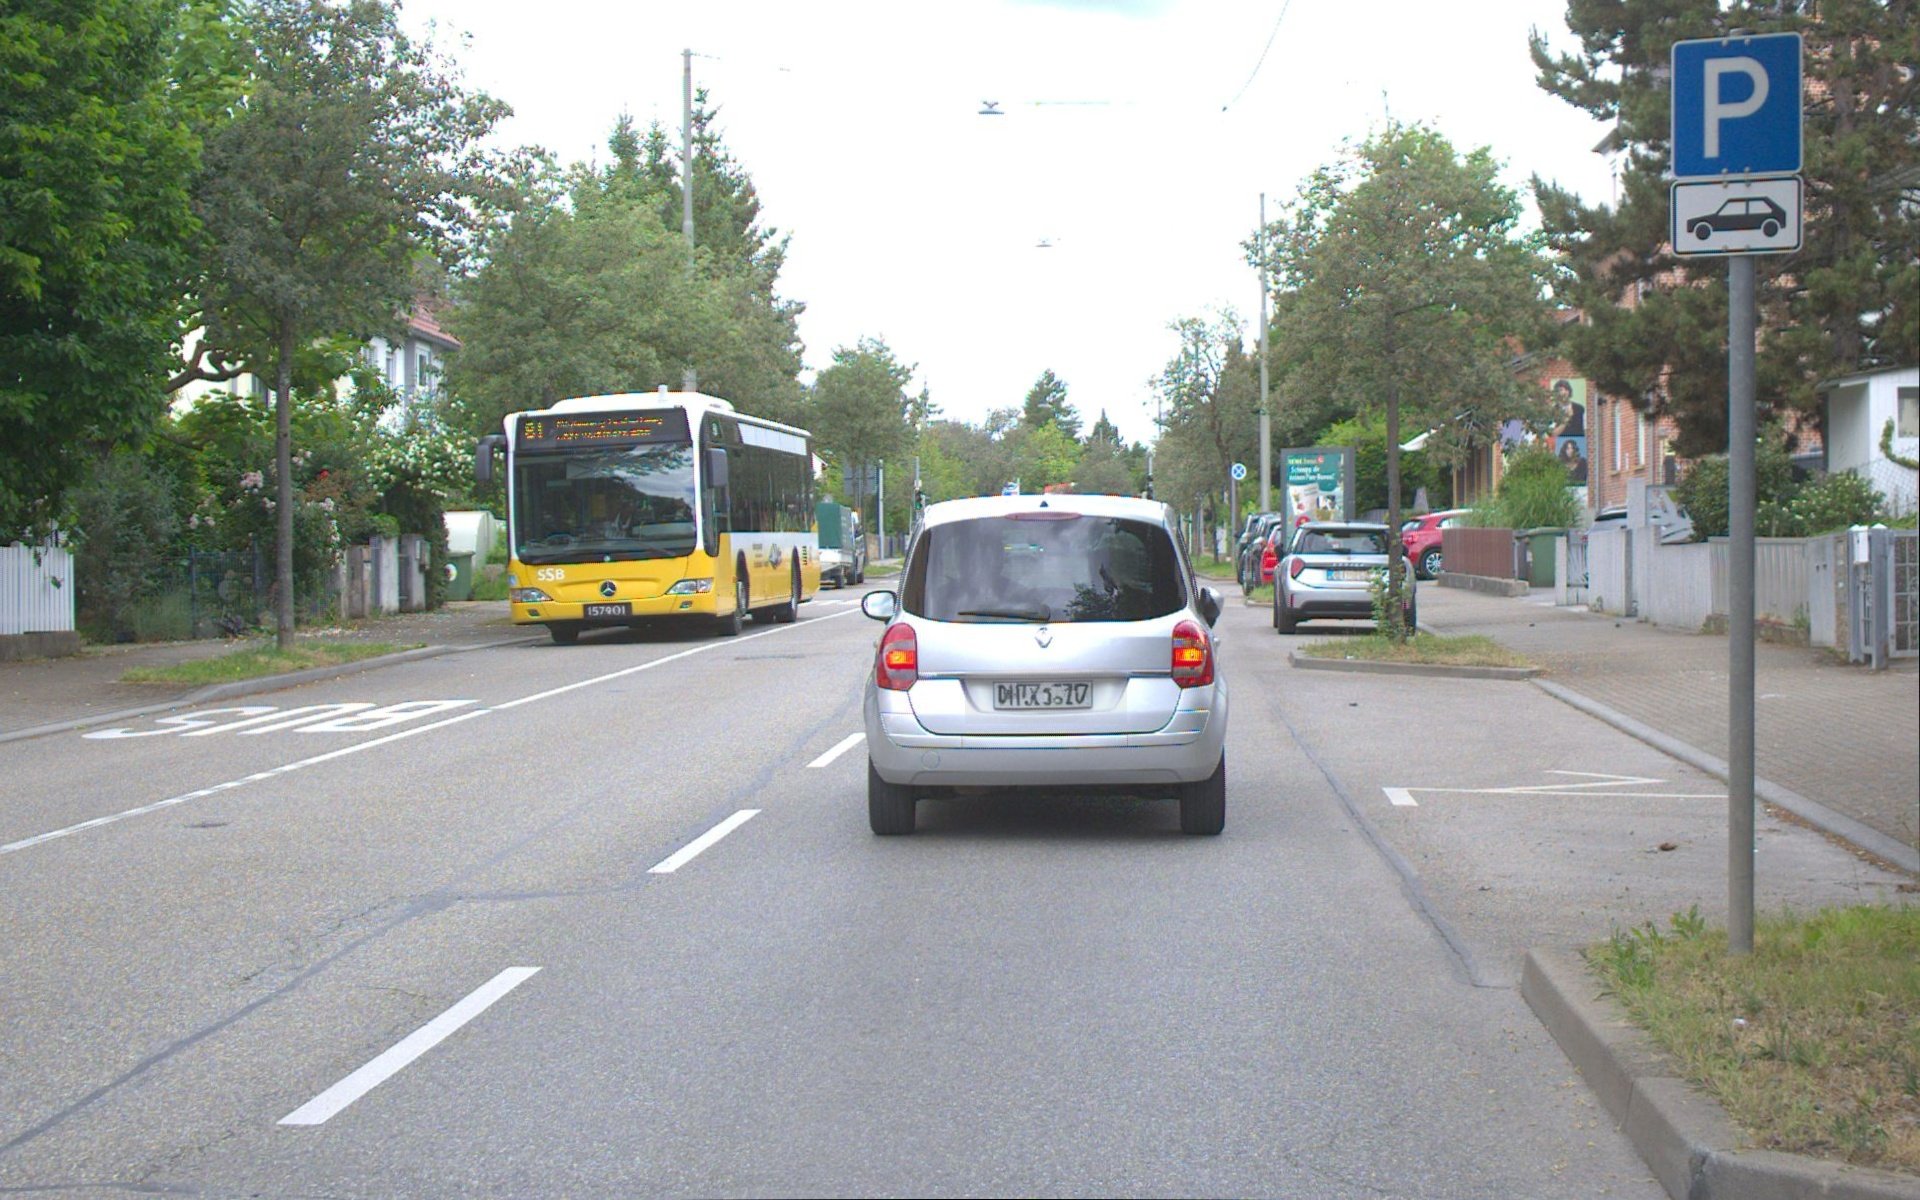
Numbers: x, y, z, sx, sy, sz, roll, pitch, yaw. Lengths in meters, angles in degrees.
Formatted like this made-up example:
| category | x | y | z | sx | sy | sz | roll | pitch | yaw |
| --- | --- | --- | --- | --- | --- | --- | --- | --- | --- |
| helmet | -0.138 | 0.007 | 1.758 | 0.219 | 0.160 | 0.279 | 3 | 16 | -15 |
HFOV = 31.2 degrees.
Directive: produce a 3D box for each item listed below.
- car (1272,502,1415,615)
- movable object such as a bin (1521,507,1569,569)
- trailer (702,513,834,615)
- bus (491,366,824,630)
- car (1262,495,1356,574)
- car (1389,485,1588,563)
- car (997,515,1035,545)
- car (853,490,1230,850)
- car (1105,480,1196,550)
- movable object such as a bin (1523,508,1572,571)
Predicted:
| category | x | y | z | sx | sy | sz | roll | pitch | yaw |
| --- | --- | --- | --- | --- | --- | --- | --- | --- | --- |
| car | 4.915 | -0.530 | 44.413 | 1.650 | 1.377 | 3.999 | 0 | 0 | 4 |
| movable object such as a bin | 10.533 | -1.117 | 61.926 | 0.776 | 1.100 | 0.691 | -1 | 1 | 3 |
| trailer | -4.115 | -0.773 | 74.693 | 2.312 | 2.079 | 5.872 | 1 | 0 | 2 |
| bus | -3.863 | -1.382 | 47.190 | 2.632 | 3.075 | 12.069 | -2 | 1 | 4 |
| car | 6.415 | -1.216 | 63.279 | 1.663 | 1.388 | 3.667 | -1 | 2 | 5 |
| car | 11.763 | -1.699 | 76.669 | 3.986 | 1.491 | 1.810 | -3 | 1 | -5 |
| car | 3.025 | -3.789 | 186.692 | 1.905 | 1.612 | 4.000 | 0 | 0 | -2 |
| car | 0.478 | 0.289 | 17.145 | 1.630 | 1.551 | 4.000 | 1 | 0 | 3 |
| car | 4.700 | -2.083 | 84.423 | 1.830 | 1.670 | 3.573 | 0 | 1 | 9 |
| movable object such as a bin | 10.455 | -1.073 | 61.172 | 0.776 | 1.100 | 0.691 | -1 | 1 | 3 |
